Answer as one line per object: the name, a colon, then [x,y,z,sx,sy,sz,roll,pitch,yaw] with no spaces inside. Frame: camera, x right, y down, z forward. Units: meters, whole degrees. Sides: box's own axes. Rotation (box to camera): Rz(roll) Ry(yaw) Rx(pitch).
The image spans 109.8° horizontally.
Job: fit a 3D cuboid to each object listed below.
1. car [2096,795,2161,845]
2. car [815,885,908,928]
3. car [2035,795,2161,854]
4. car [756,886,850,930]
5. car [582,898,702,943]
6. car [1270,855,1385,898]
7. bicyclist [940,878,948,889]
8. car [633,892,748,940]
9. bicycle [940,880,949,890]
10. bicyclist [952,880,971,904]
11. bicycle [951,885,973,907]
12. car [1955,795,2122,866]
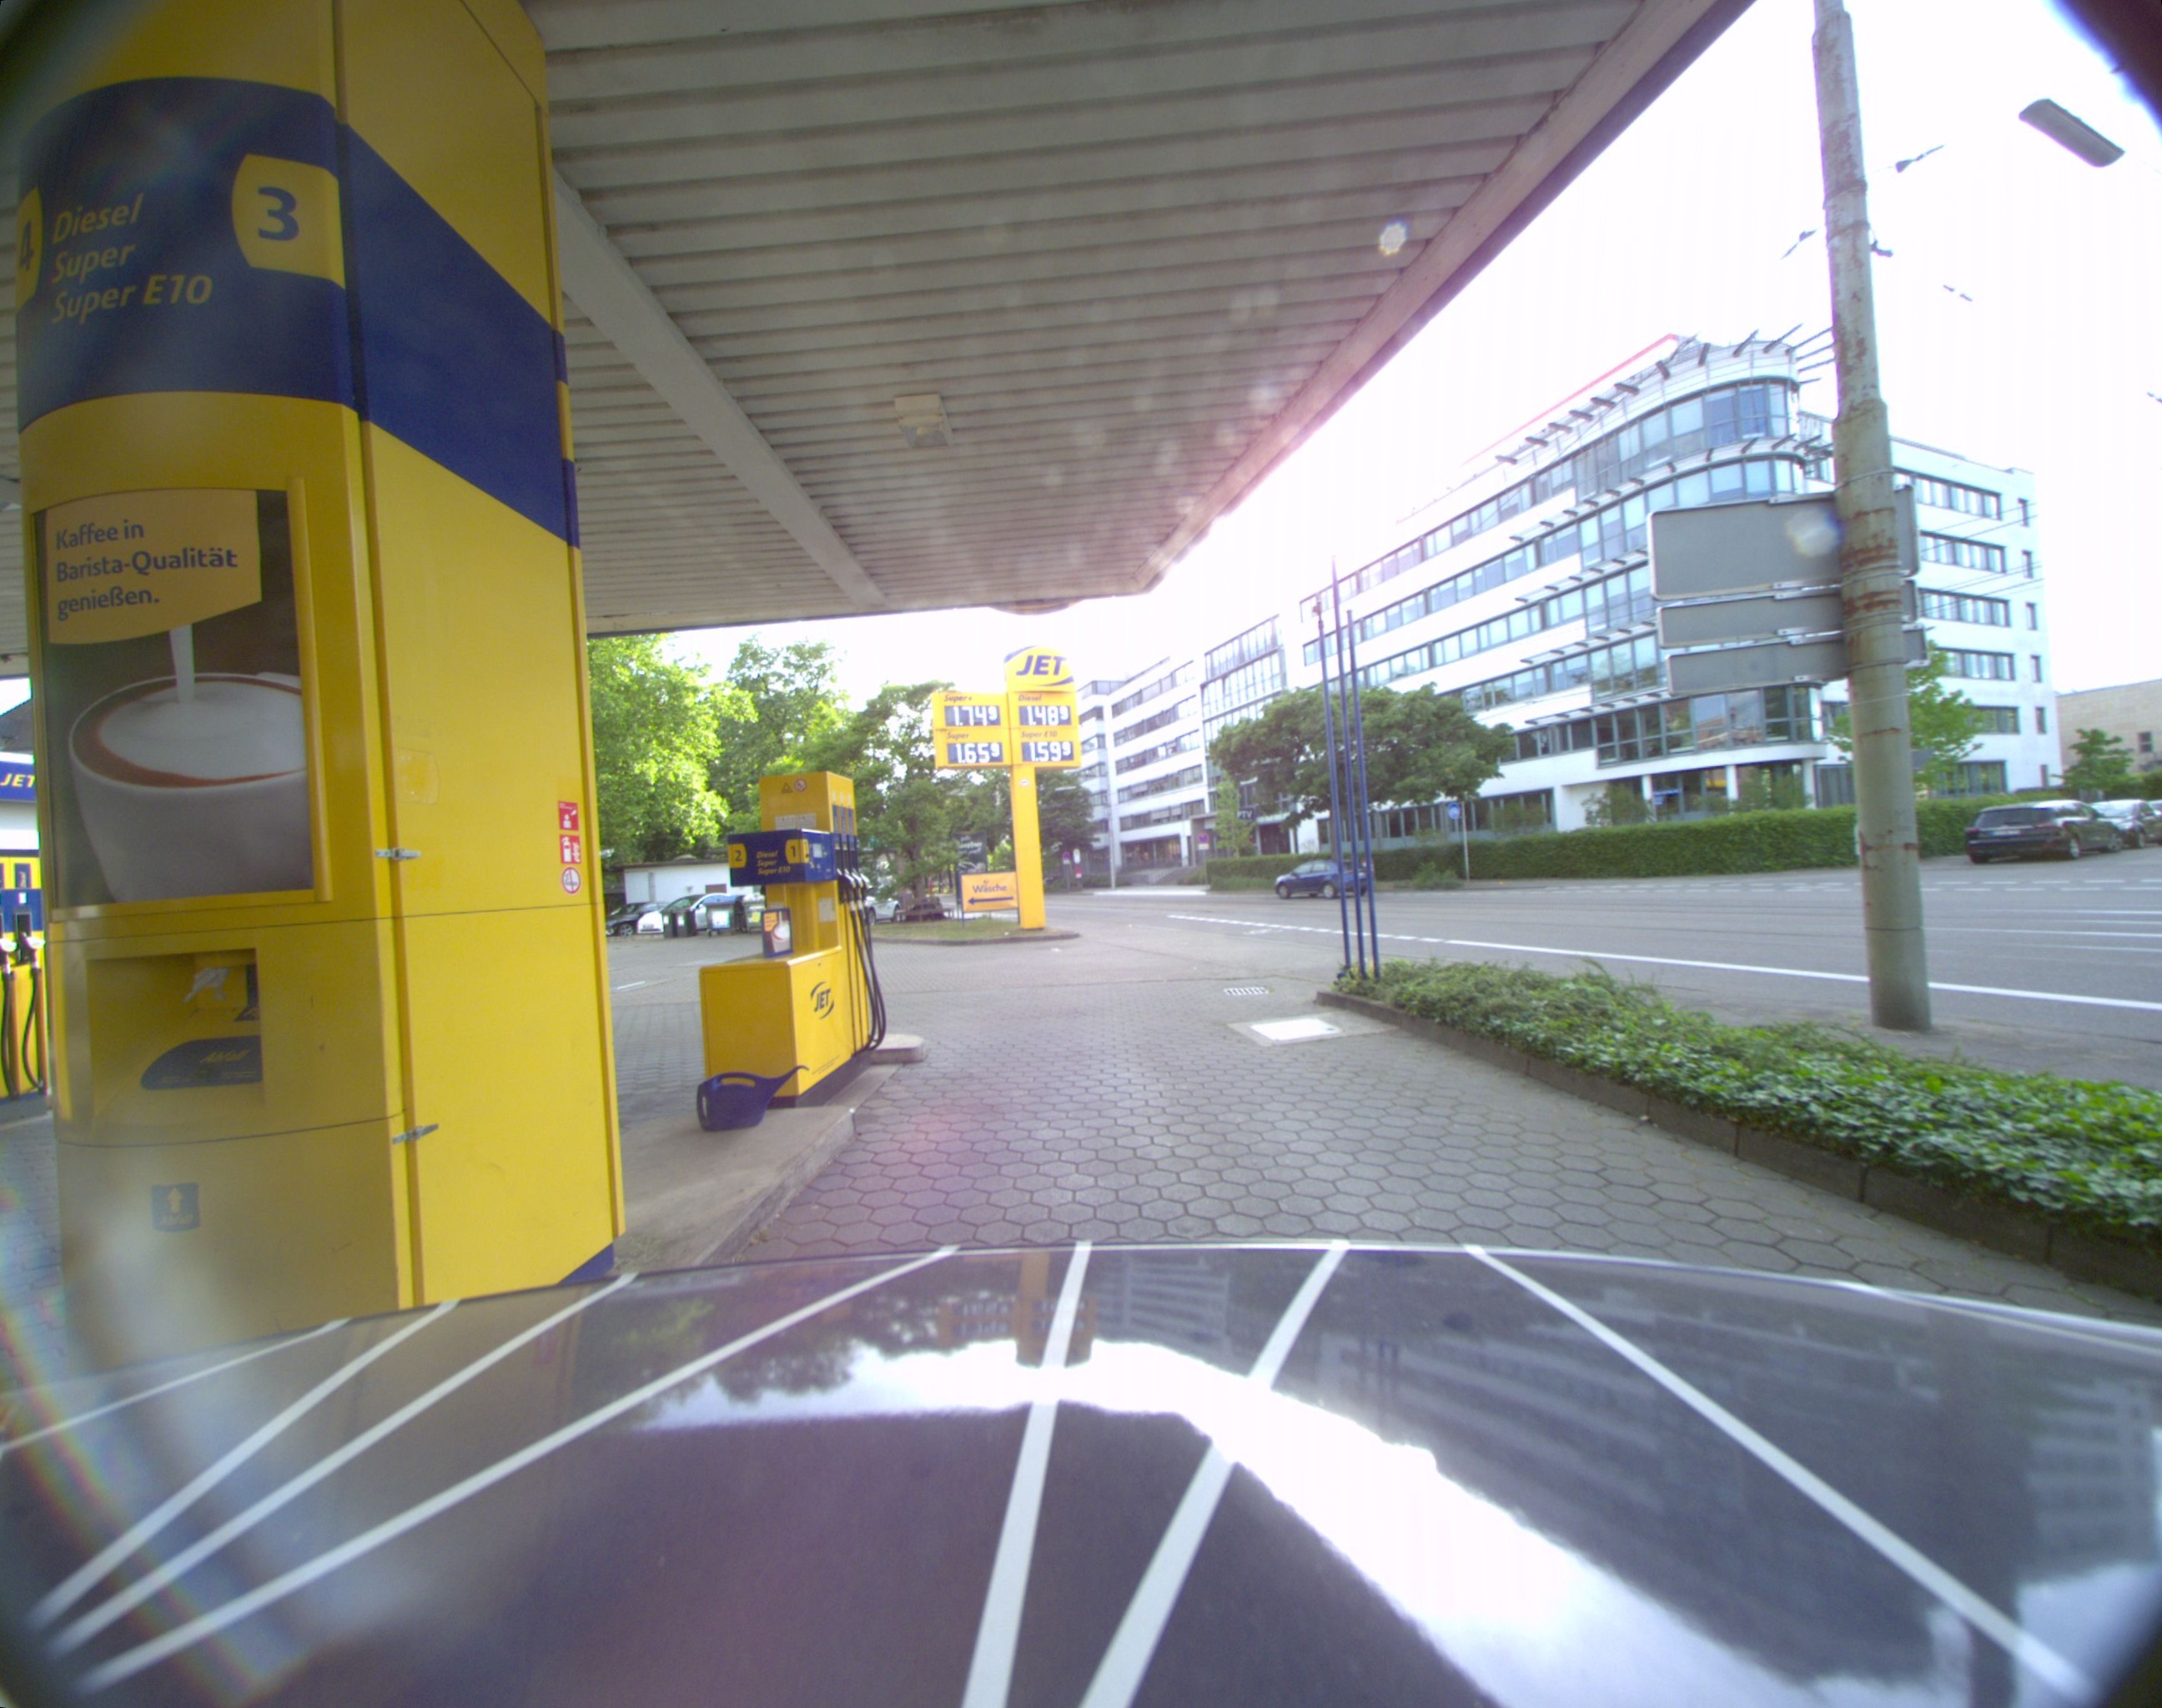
car: [37.102,-1.253,26.017,4.201,1.568,1.820,-4,-1,-24]
car: [-8.659,2.043,30.379,1.823,1.449,4.200,-4,-2,10]
car: [32.573,-0.959,24.069,4.201,1.568,1.820,-4,-1,-24]
car: [-11.749,2.261,32.467,1.823,1.575,4.200,-4,-2,10]
car: [-17.537,2.626,30.610,1.823,1.426,4.200,-4,-2,10]
car: [9.654,0.926,30.077,1.866,1.461,4.130,-4,-1,-28]
bicyclist: [-18.636,4.049,103.409,0.792,1.443,1.174,-3,1,-22]
car: [-15.392,2.408,30.255,1.823,1.575,4.200,-4,-2,10]
bicycle: [-18.603,4.236,103.348,0.792,1.232,1.879,-2,0,-22]
bicyclist: [-7.474,2.380,47.544,0.854,1.415,1.036,-5,2,-22]
bicycle: [-7.492,2.642,47.608,0.854,1.232,1.879,-5,1,-22]
car: [27.415,-0.670,21.759,4.397,1.678,1.820,-4,-1,-24]
